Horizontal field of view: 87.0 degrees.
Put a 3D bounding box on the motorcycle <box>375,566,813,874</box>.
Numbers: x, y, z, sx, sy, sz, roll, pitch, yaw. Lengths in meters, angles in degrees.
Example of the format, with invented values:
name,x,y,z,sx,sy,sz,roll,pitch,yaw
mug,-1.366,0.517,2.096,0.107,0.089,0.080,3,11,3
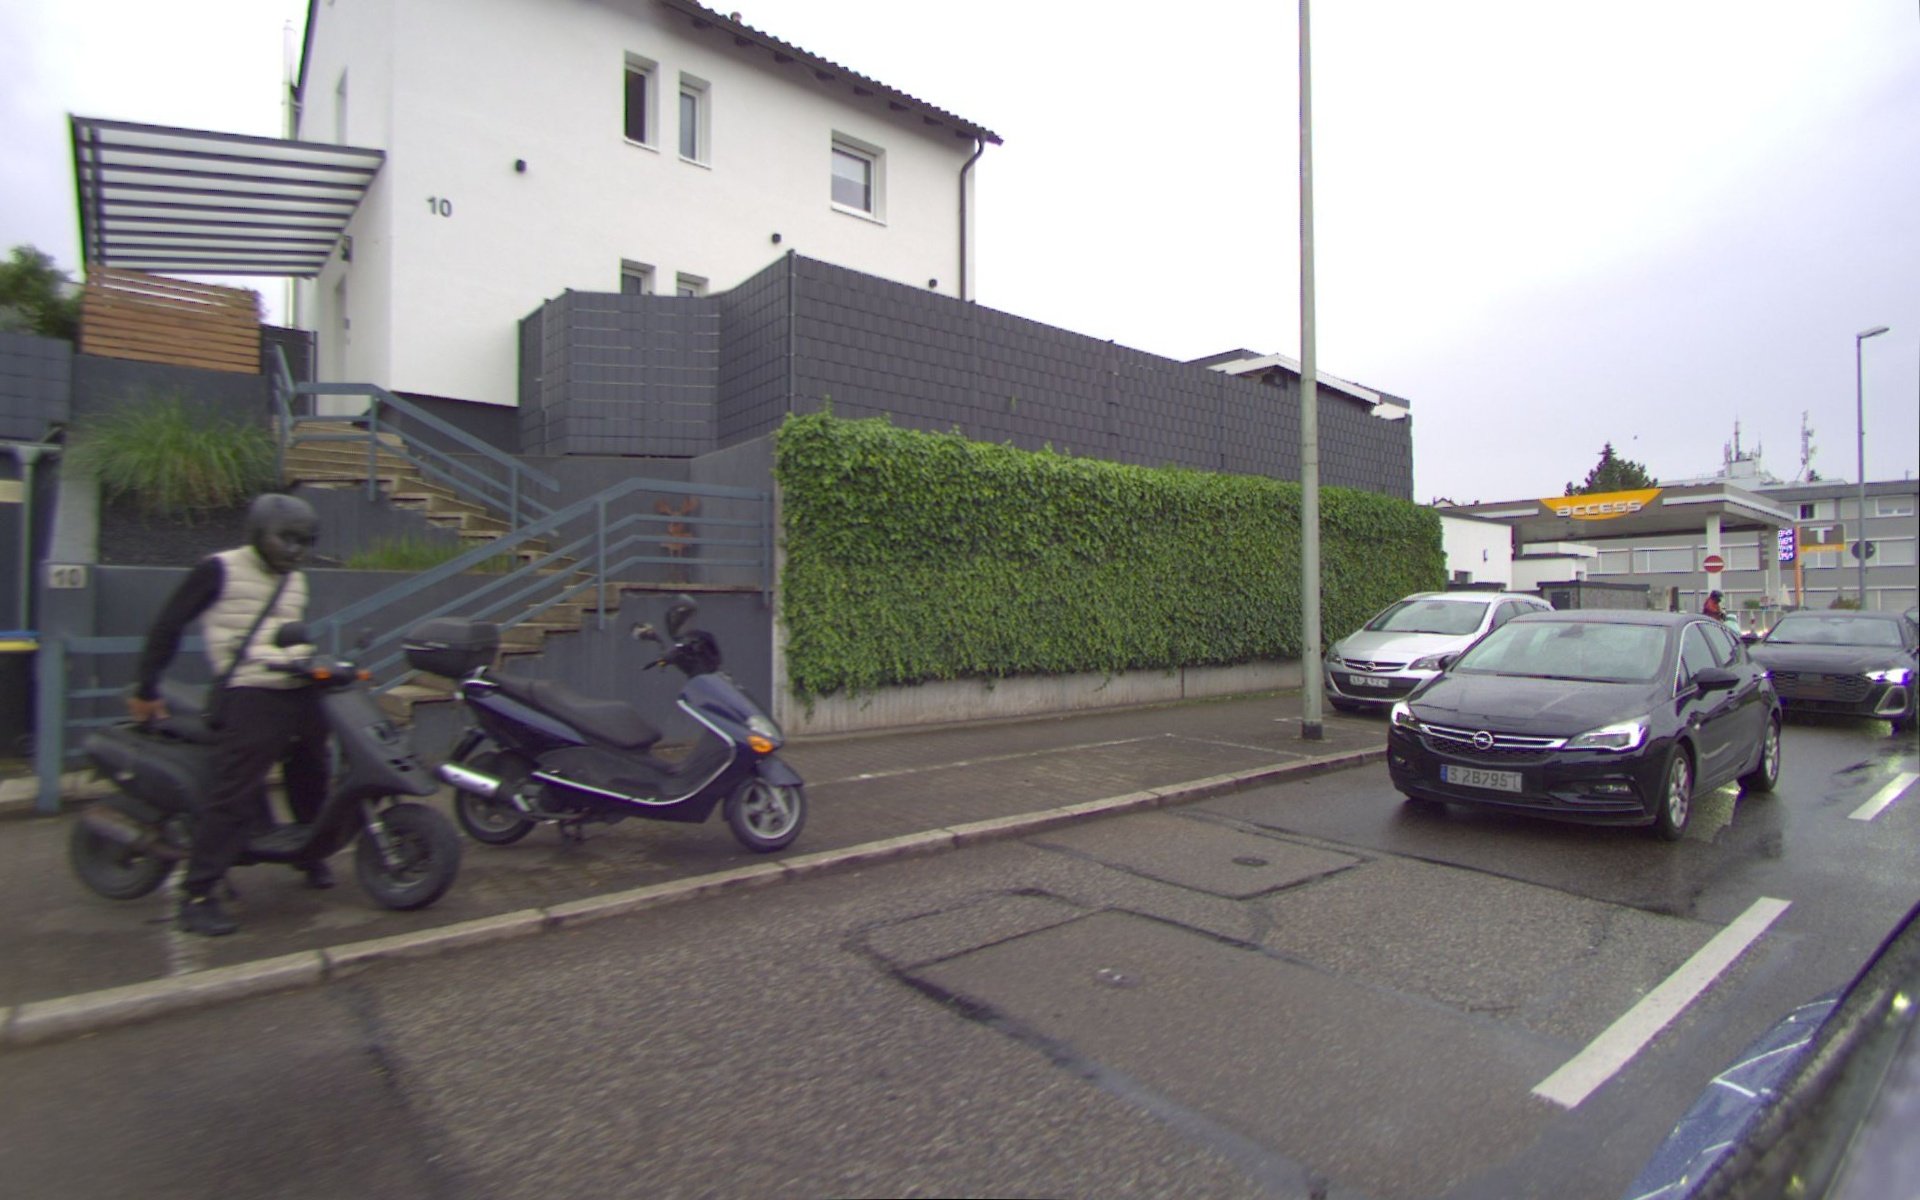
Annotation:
name,x,y,z,sx,sy,sz,roll,pitch,yaw
motorcycle,-1.907,0.578,5.454,2.053,1.469,0.820,1,0,7

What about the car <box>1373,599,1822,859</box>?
name,x,y,z,sx,sy,sz,roll,pitch,yaw
car,4.984,0.735,7.707,3.929,1.468,1.760,0,0,-40

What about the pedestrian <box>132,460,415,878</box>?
name,x,y,z,sx,sy,sz,roll,pitch,yaw
pedestrian,-2.953,0.276,4.408,0.818,1.671,0.621,0,-1,7

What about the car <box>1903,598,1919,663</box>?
name,x,y,z,sx,sy,sz,roll,pitch,yaw
car,24.868,0.727,24.971,3.929,1.538,1.871,0,0,-40

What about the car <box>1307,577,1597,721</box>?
name,x,y,z,sx,sy,sz,roll,pitch,yaw
car,6.362,0.521,12.855,4.455,1.529,1.703,0,0,-41

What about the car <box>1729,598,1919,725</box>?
name,x,y,z,sx,sy,sz,roll,pitch,yaw
car,12.202,0.698,13.679,4.654,1.442,1.870,0,0,-40

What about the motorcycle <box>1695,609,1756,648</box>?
name,x,y,z,sx,sy,sz,roll,pitch,yaw
motorcycle,21.452,0.786,28.389,0.454,1.069,1.393,0,0,-12

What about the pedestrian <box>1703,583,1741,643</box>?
name,x,y,z,sx,sy,sz,roll,pitch,yaw
pedestrian,21.477,0.370,28.544,0.599,1.677,0.586,0,-1,-12

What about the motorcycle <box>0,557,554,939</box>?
name,x,y,z,sx,sy,sz,roll,pitch,yaw
motorcycle,-2.923,0.575,4.389,2.053,1.469,0.758,0,-1,7

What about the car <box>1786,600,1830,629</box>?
name,x,y,z,sx,sy,sz,roll,pitch,yaw
car,50.250,0.801,59.952,1.809,1.546,3.940,4,3,42
